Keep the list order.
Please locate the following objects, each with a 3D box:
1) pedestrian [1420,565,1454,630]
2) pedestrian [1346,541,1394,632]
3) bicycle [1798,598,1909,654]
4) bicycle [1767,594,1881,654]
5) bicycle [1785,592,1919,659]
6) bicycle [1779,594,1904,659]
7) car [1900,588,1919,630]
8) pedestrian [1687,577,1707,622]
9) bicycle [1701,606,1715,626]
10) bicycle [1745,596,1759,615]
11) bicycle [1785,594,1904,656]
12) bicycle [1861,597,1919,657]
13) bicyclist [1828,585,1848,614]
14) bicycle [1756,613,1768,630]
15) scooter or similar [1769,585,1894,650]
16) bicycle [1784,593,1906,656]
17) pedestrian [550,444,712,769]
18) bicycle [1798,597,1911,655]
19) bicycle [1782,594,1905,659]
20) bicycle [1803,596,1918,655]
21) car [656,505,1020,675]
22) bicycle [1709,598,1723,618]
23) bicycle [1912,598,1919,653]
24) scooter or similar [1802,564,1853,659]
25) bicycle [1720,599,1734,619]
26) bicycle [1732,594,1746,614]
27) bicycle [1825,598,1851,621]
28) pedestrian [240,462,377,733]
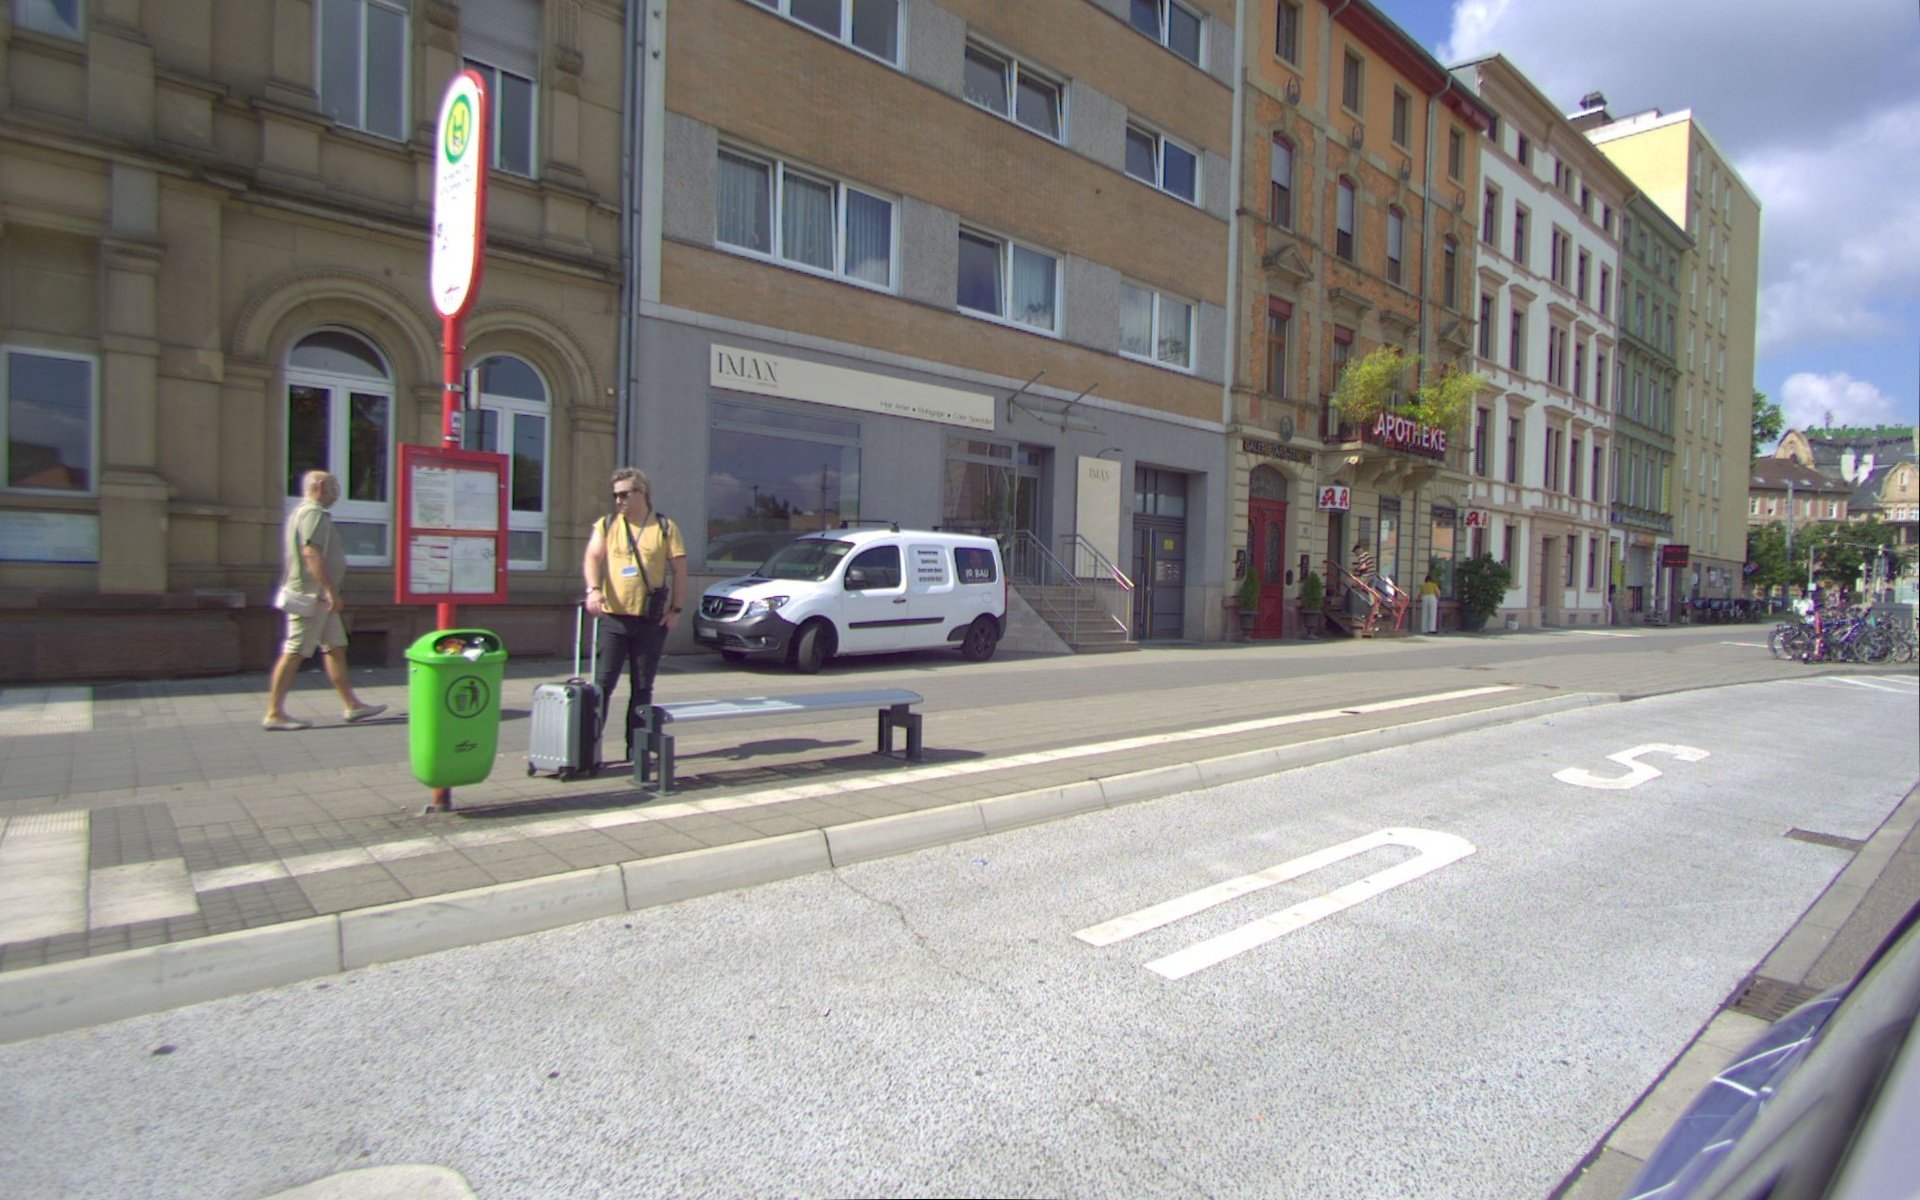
[{"bbox_3d":[12.807,-0.069,27.178,0.601,1.719,0.579,4,-1,-41],"label":"pedestrian"},{"bbox_3d":[9.900,-0.322,24.460,0.772,2.126,0.722,4,-1,-41],"label":"pedestrian"},{"bbox_3d":[21.546,0.606,24.436,0.433,1.253,1.929,4,-1,-39],"label":"bicycle"},{"bbox_3d":[19.793,0.532,23.234,1.919,1.253,0.435,3,-1,37],"label":"bicycle"},{"bbox_3d":[18.050,0.500,20.529,1.975,1.253,0.435,3,-1,38],"label":"bicycle"},{"bbox_3d":[18.337,0.533,21.102,1.923,1.253,0.434,3,-1,42],"label":"bicycle"},{"bbox_3d":[40.840,0.438,40.338,4.517,1.667,2.058,2,1,7],"label":"car"},{"bbox_3d":[33.907,-0.037,46.579,0.452,2.039,0.602,4,-1,-41],"label":"pedestrian"},{"bbox_3d":[36.192,0.775,48.988,1.440,0.934,0.292,2,0,-44],"label":"bicycle"},{"bbox_3d":[40.098,0.264,51.226,1.438,0.934,0.293,1,1,-41],"label":"bicycle"},{"bbox_3d":[19.458,0.542,22.313,1.921,1.253,0.435,3,-1,39],"label":"bicycle"},{"bbox_3d":[20.804,0.604,21.872,1.920,1.253,0.435,3,-1,38],"label":"bicycle"},{"bbox_3d":[44.911,-0.023,51.767,0.730,1.455,0.655,1,1,-41],"label":"bicyclist"},{"bbox_3d":[43.633,1.153,55.040,1.440,0.894,0.292,-1,2,-44],"label":"bicycle"},{"bbox_3d":[22.707,0.426,26.425,0.684,1.565,2.332,3,-1,-35],"label":"scooter or similar"},{"bbox_3d":[19.095,0.517,21.893,1.921,1.253,0.435,3,-1,39],"label":"bicycle"},{"bbox_3d":[-2.093,0.023,6.462,0.659,1.926,0.687,2,1,30],"label":"pedestrian"},{"bbox_3d":[21.113,0.590,23.918,0.433,1.253,1.929,4,-1,-39],"label":"bicycle"},{"bbox_3d":[18.711,0.540,21.467,1.924,1.253,0.434,3,-1,44],"label":"bicycle"},{"bbox_3d":[20.813,0.573,23.429,0.433,1.253,1.929,4,-1,-39],"label":"bicycle"},{"bbox_3d":[-1.459,-0.170,13.616,1.993,1.885,4.679,3,2,43],"label":"car"},{"bbox_3d":[36.419,0.404,48.752,1.440,0.934,0.292,3,0,-44],"label":"bicycle"},{"bbox_3d":[22.456,0.621,23.460,0.439,1.253,1.901,2,-1,40],"label":"bicycle"},{"bbox_3d":[16.987,0.220,19.808,1.509,1.808,0.398,1,1,-38],"label":"scooter or similar"},{"bbox_3d":[36.569,0.433,48.274,1.440,0.934,0.292,2,0,-44],"label":"bicycle"},{"bbox_3d":[38.466,0.193,49.966,1.440,0.934,0.292,3,0,-44],"label":"bicycle"},{"bbox_3d":[44.877,0.476,51.720,2.291,1.134,0.663,0,2,-41],"label":"bicycle"},{"bbox_3d":[-4.776,-0.032,7.422,0.663,1.859,0.684,3,2,43],"label":"pedestrian"}]
